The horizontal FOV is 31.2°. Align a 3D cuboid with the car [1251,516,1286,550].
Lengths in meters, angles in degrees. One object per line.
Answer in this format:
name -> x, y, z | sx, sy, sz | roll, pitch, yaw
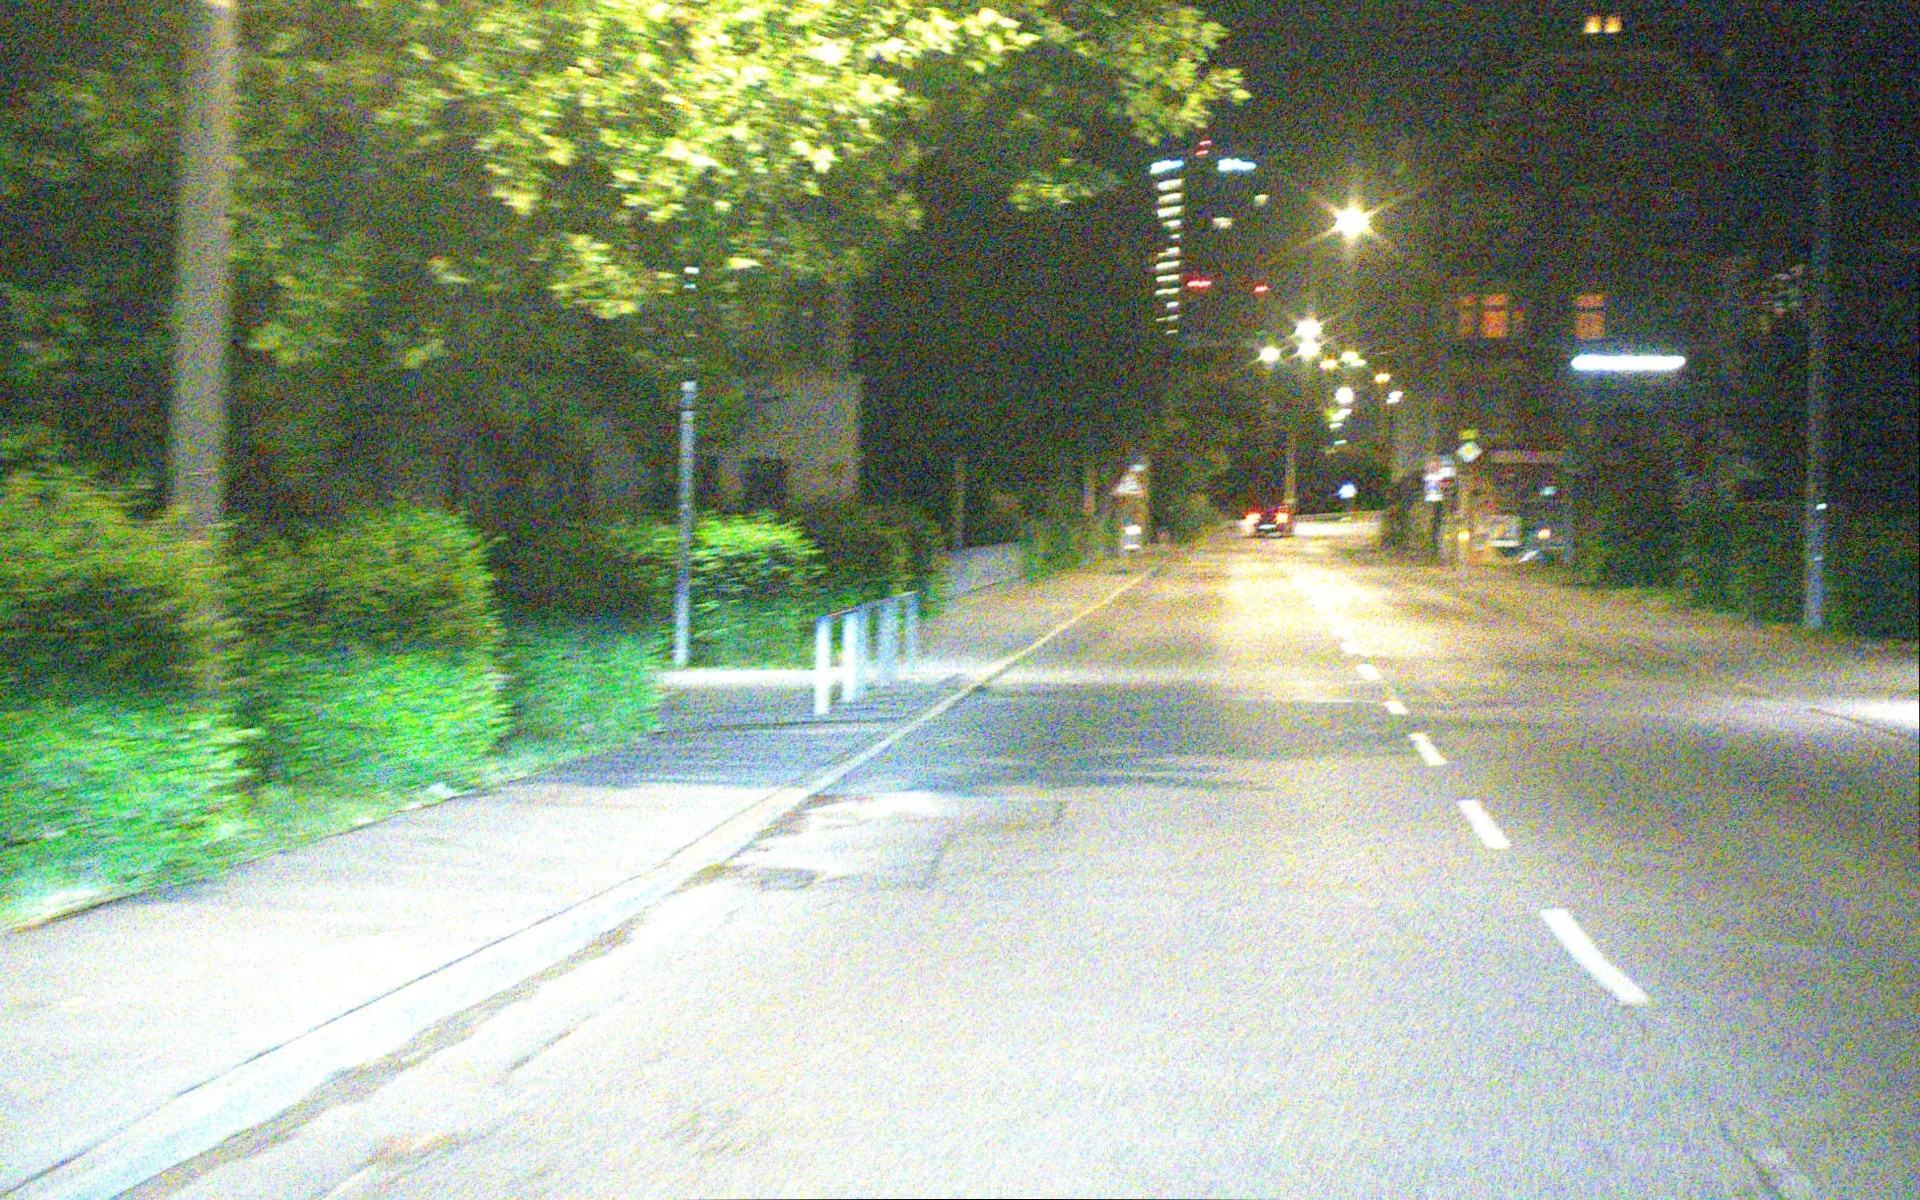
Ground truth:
car -> 17.450, -3.770, 194.392 | 1.925, 1.848, 3.999 | 0, 0, 5
